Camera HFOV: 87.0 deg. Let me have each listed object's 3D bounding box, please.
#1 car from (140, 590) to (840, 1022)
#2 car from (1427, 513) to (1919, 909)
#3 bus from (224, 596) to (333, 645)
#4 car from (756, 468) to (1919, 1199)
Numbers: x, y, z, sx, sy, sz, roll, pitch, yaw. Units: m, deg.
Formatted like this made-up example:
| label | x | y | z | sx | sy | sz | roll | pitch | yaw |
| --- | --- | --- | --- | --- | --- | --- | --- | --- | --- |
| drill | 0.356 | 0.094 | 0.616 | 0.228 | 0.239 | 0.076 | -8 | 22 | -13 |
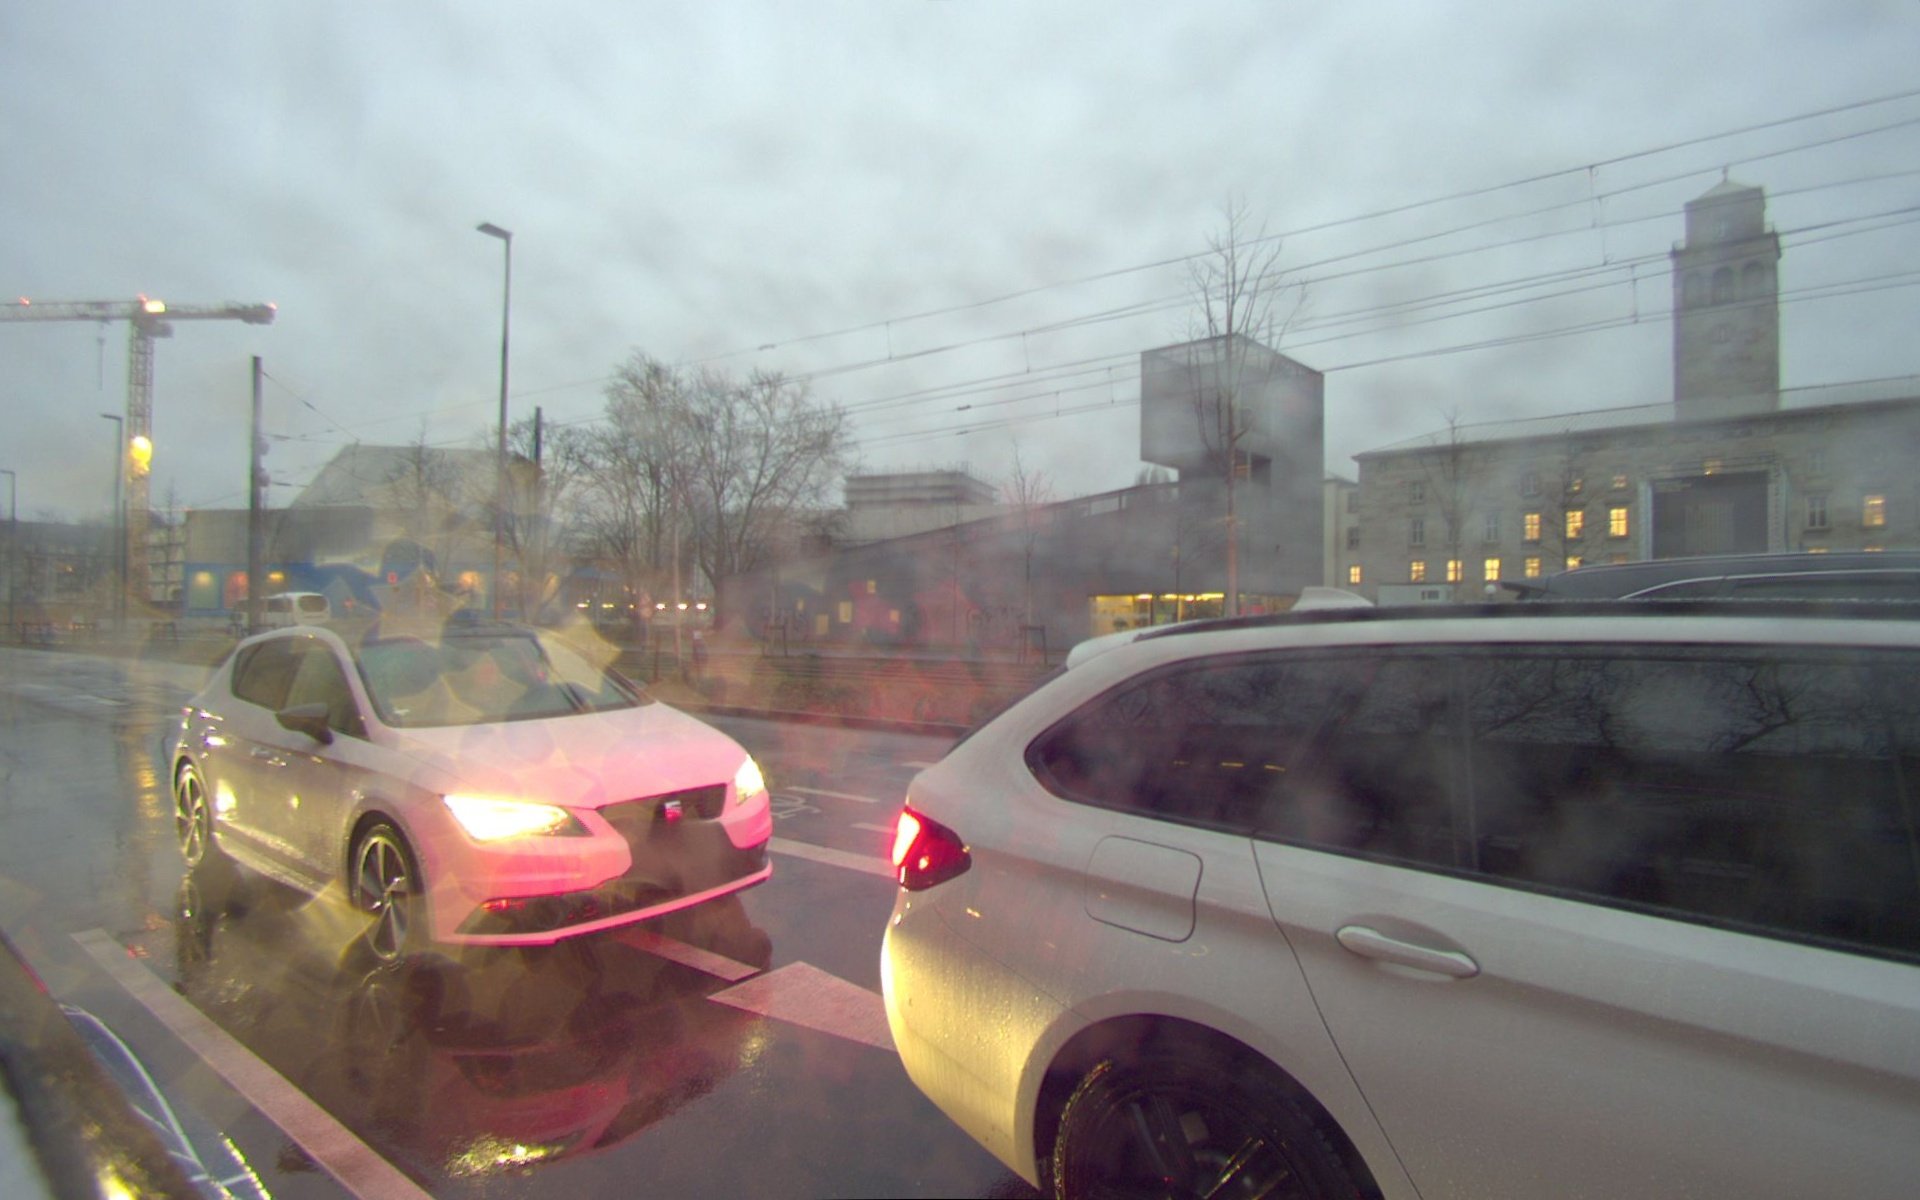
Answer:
| label | x | y | z | sx | sy | sz | roll | pitch | yaw |
| --- | --- | --- | --- | --- | --- | --- | --- | --- | --- |
| car | -2.736 | 0.748 | 5.476 | 4.124 | 1.486 | 1.757 | -1 | -2 | 38 |
| car | 4.977 | 0.504 | 5.000 | 4.605 | 1.756 | 1.686 | -1 | -2 | 38 |
| bus | -53.185 | 1.624 | 78.788 | 12.277 | 3.605 | 2.783 | -1 | -2 | 35 |
| car | 1.967 | 0.625 | 1.719 | 4.919 | 1.532 | 1.890 | -1 | -2 | 40 |
